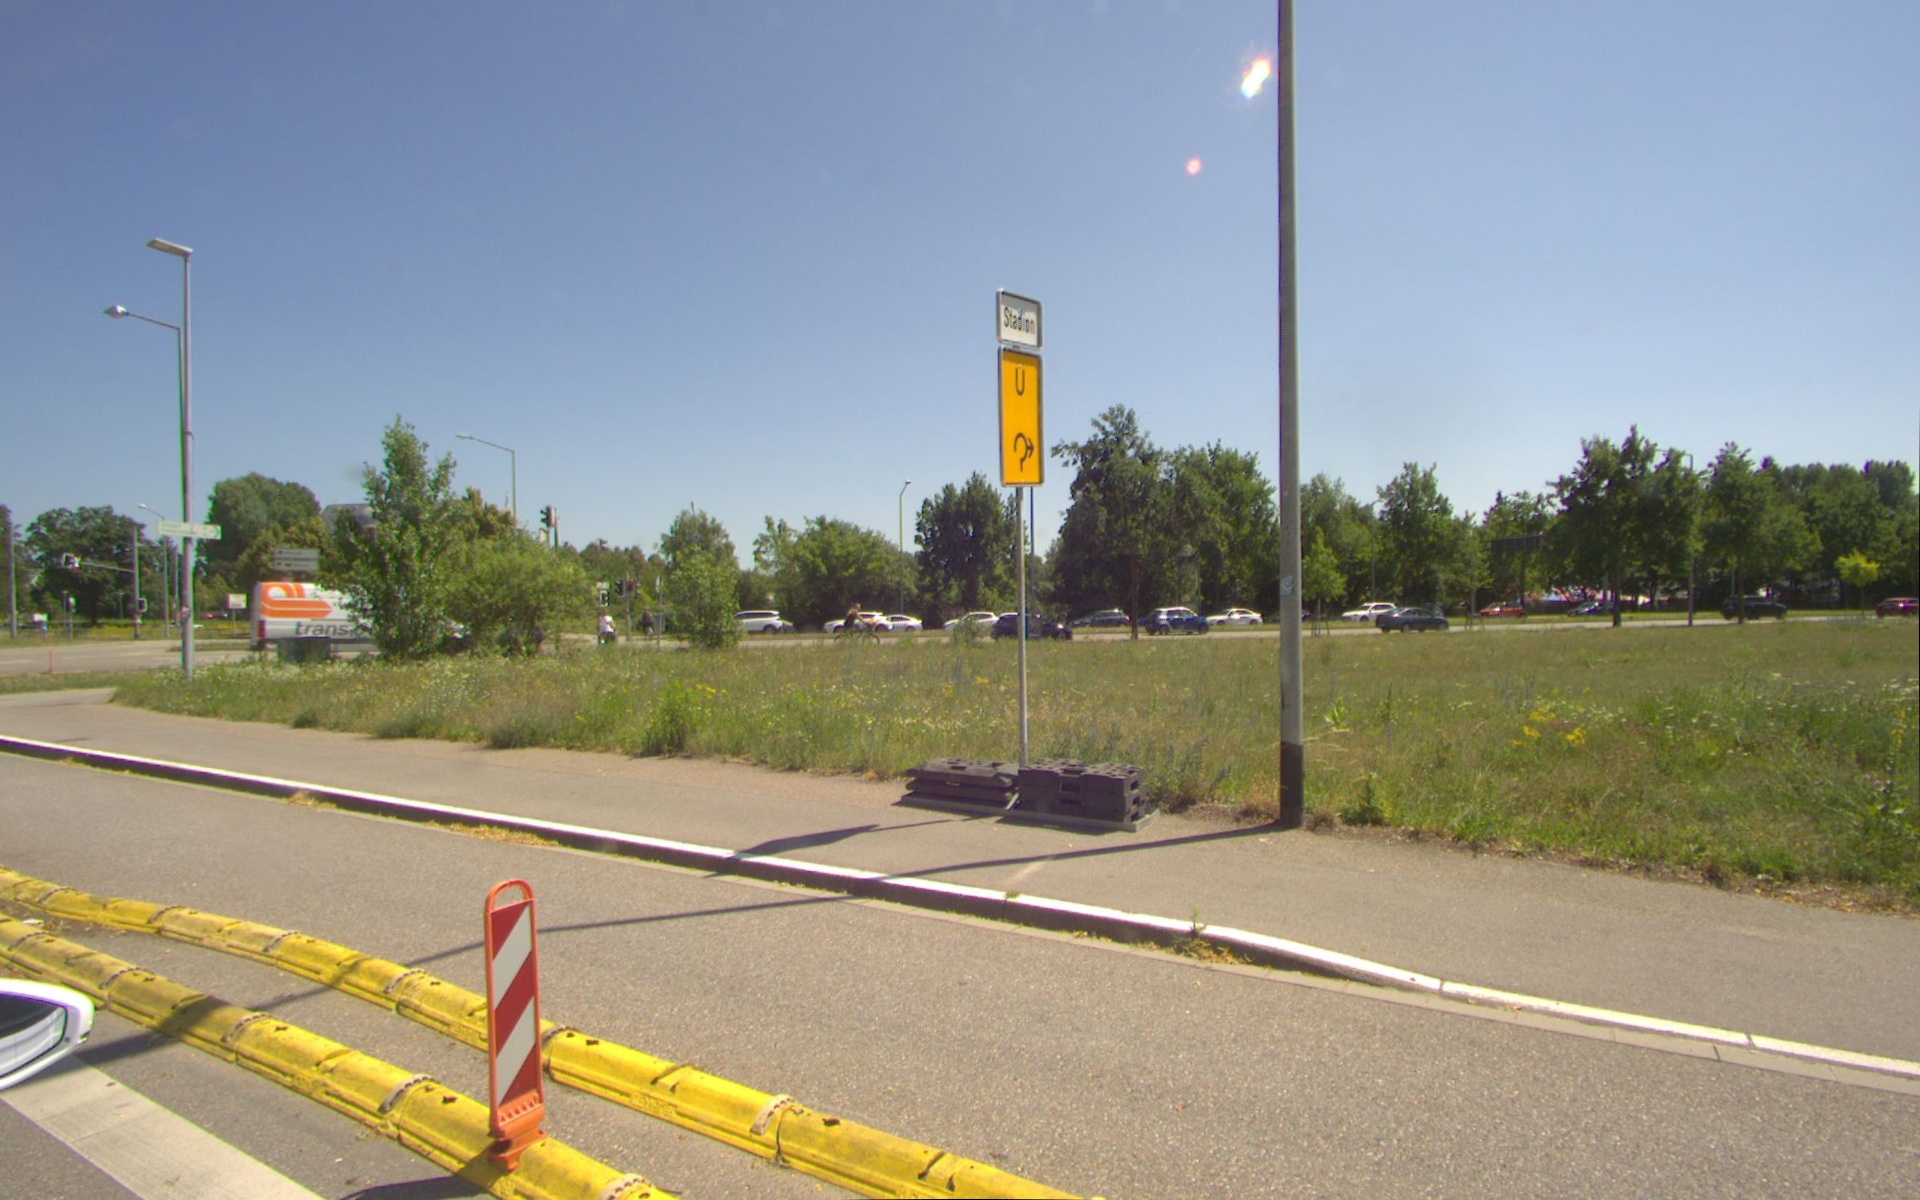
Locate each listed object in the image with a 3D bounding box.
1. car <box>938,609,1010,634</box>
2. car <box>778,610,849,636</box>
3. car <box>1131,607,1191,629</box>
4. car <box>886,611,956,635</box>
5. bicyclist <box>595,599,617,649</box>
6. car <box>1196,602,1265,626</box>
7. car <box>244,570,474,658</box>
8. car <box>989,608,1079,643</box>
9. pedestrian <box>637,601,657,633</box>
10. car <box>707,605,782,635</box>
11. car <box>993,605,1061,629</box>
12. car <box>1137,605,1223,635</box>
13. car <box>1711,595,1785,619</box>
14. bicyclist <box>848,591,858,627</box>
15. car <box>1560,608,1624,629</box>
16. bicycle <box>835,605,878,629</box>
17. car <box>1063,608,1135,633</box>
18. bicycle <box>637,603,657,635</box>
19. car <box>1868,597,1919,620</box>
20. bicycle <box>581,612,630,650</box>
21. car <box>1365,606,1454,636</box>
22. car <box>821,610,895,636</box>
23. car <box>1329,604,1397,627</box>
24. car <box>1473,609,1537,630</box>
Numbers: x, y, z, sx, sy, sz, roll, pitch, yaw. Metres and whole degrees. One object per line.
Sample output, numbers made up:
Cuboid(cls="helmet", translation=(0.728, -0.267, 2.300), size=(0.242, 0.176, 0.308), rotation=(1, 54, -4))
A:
Cuboid(cls="car", translation=(0.902, 1.425, 65.000), size=(4.365, 1.612, 1.846), rotation=(0, -2, -16))
Cuboid(cls="car", translation=(-9.500, 1.493, 64.852), size=(4.365, 1.612, 1.846), rotation=(0, -2, -16))
Cuboid(cls="car", translation=(14.567, 1.289, 72.566), size=(3.927, 1.558, 1.764), rotation=(0, -2, -14))
Cuboid(cls="car", translation=(-2.612, 1.549, 66.862), size=(4.365, 1.612, 1.846), rotation=(0, -2, -16))
Cuboid(cls="bicyclist", translation=(-13.141, 0.889, 37.160), size=(0.597, 1.864, 0.572), rotation=(0, -1, 2))
Cuboid(cls="car", translation=(18.939, 1.025, 70.167), size=(4.365, 1.612, 1.846), rotation=(0, -2, -16))
Cuboid(cls="car", translation=(-21.292, 0.565, 35.801), size=(6.814, 2.864, 1.982), rotation=(2, -2, -42))
Cuboid(cls="car", translation=(3.518, 1.217, 47.945), size=(3.929, 1.573, 1.724), rotation=(1, 1, -16))
Cuboid(cls="pedestrian", translation=(-16.697, 0.909, 53.420), size=(0.954, 1.681, 0.885), rotation=(0, -1, -16))
Cuboid(cls="car", translation=(-13.037, 1.236, 60.532), size=(4.365, 1.758, 1.846), rotation=(0, -2, -16))
Cuboid(cls="car", translation=(4.623, 1.192, 69.556), size=(4.365, 1.613, 1.845), rotation=(0, 0, -16))
Cuboid(cls="car", translation=(12.458, 1.126, 56.753), size=(4.344, 1.617, 1.994), rotation=(0, 1, -20))
Cuboid(cls="car", translation=(54.817, 0.491, 69.690), size=(4.343, 1.617, 1.995), rotation=(0, 1, -19))
Cuboid(cls="bicyclist", translation=(-3.987, 0.342, 37.292), size=(0.349, 1.336, 0.379), rotation=(0, -1, -9))
Cuboid(cls="car", translation=(50.355, 1.465, 79.769), size=(4.365, 1.612, 1.846), rotation=(0, -2, -16))
Cuboid(cls="bicycle", translation=(-3.868, 0.642, 37.309), size=(1.564, 0.895, 0.369), rotation=(0, -1, -10))
Cuboid(cls="car", translation=(9.321, 1.374, 67.215), size=(4.365, 1.612, 1.846), rotation=(0, -2, -16))
Cuboid(cls="bicycle", translation=(-16.740, 1.044, 53.558), size=(0.967, 1.617, 2.879), rotation=(0, -2, -16))
Cuboid(cls="car", translation=(65.011, 0.610, 68.699), size=(4.340, 1.546, 1.998), rotation=(0, -2, -15))
Cuboid(cls="bicycle", translation=(-13.158, 1.168, 37.218), size=(0.628, 1.370, 2.896), rotation=(0, -2, 4))
Cuboid(cls="car", translation=(25.362, 1.188, 56.541), size=(4.340, 1.617, 1.996), rotation=(0, 1, -16))
Cuboid(cls="car", translation=(-6.441, 1.444, 62.897), size=(4.365, 1.612, 1.846), rotation=(0, -2, -16))
Cuboid(cls="car", translation=(29.333, 1.159, 72.857), size=(4.366, 1.612, 1.846), rotation=(0, -2, -17))
Cuboid(cls="car", translation=(42.040, 1.534, 77.251), size=(4.337, 1.612, 1.846), rotation=(0, -2, -16))
